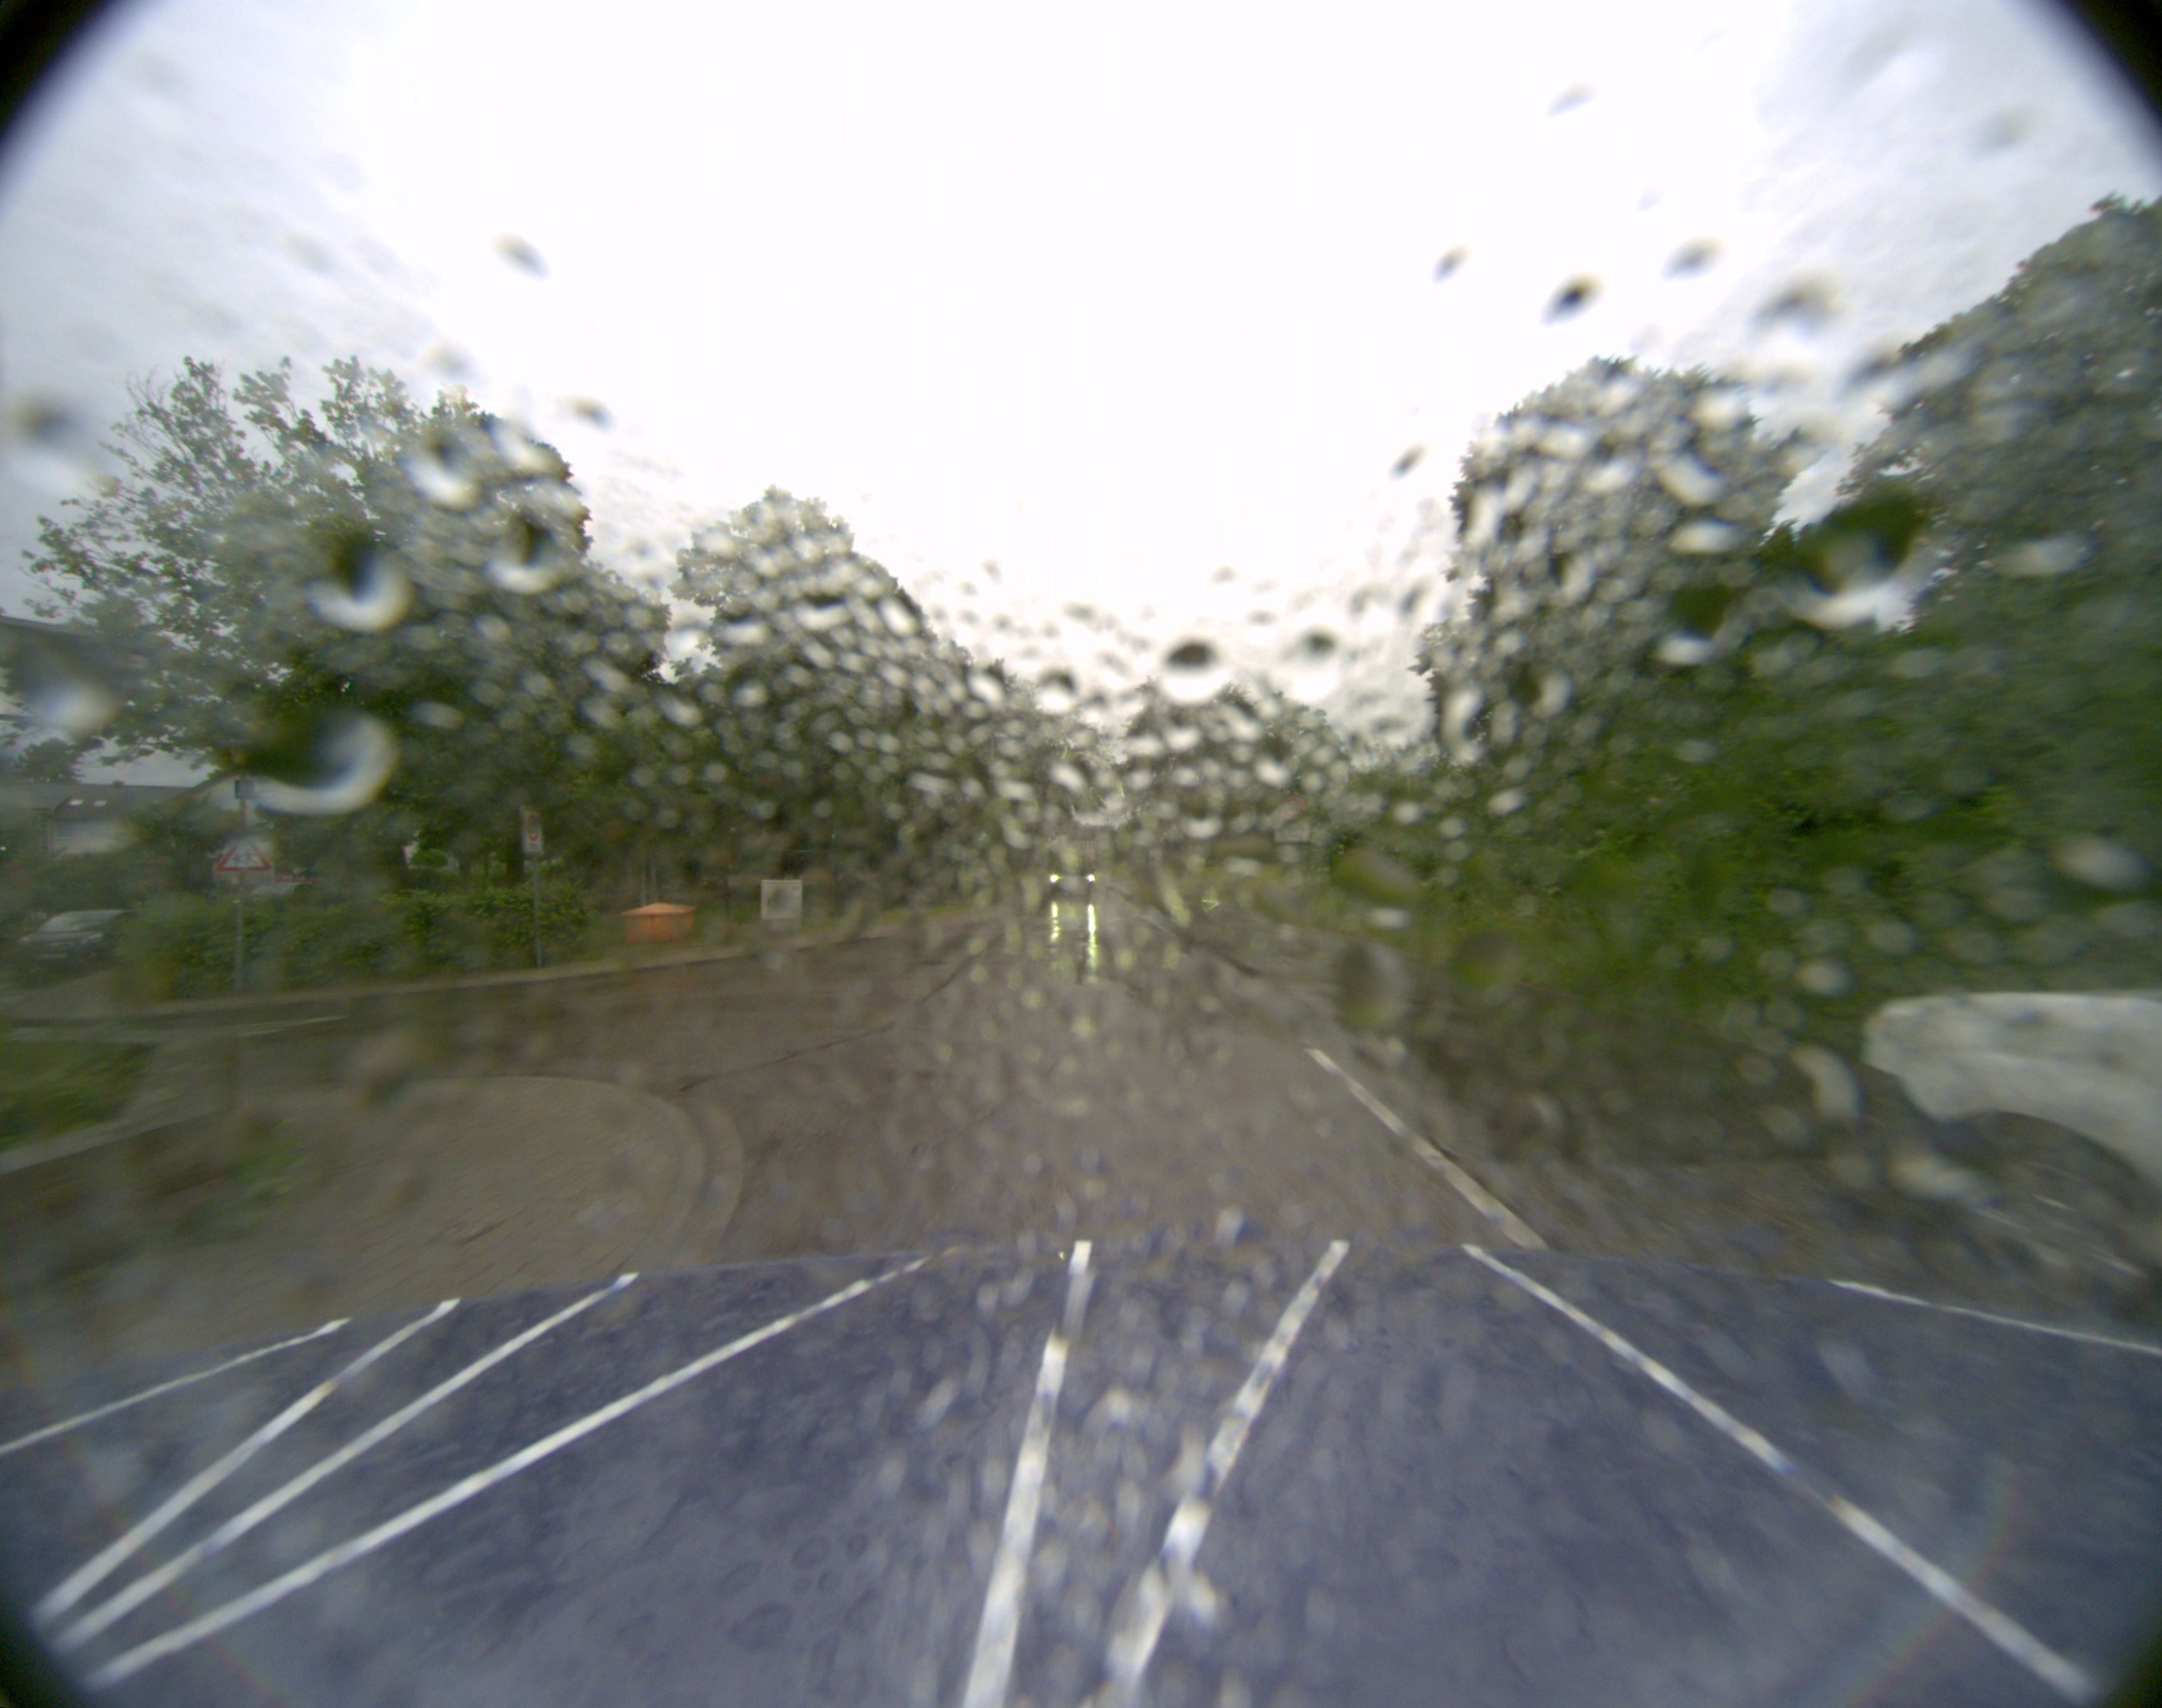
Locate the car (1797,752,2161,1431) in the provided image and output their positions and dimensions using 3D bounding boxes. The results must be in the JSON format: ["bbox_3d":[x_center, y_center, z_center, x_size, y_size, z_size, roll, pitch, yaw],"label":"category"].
[{"bbox_3d":[3.853,0.636,0.909,1.828,1.821,4.305,-1,1,-3],"label":"car"}]

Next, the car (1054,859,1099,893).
[{"bbox_3d":[-0.225,0.889,31.621,1.667,1.290,3.517,-1,-1,-3],"label":"car"}]

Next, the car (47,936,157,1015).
[{"bbox_3d":[-19.145,2.315,14.847,2.526,1.171,1.114,-2,4,36],"label":"car"}]
